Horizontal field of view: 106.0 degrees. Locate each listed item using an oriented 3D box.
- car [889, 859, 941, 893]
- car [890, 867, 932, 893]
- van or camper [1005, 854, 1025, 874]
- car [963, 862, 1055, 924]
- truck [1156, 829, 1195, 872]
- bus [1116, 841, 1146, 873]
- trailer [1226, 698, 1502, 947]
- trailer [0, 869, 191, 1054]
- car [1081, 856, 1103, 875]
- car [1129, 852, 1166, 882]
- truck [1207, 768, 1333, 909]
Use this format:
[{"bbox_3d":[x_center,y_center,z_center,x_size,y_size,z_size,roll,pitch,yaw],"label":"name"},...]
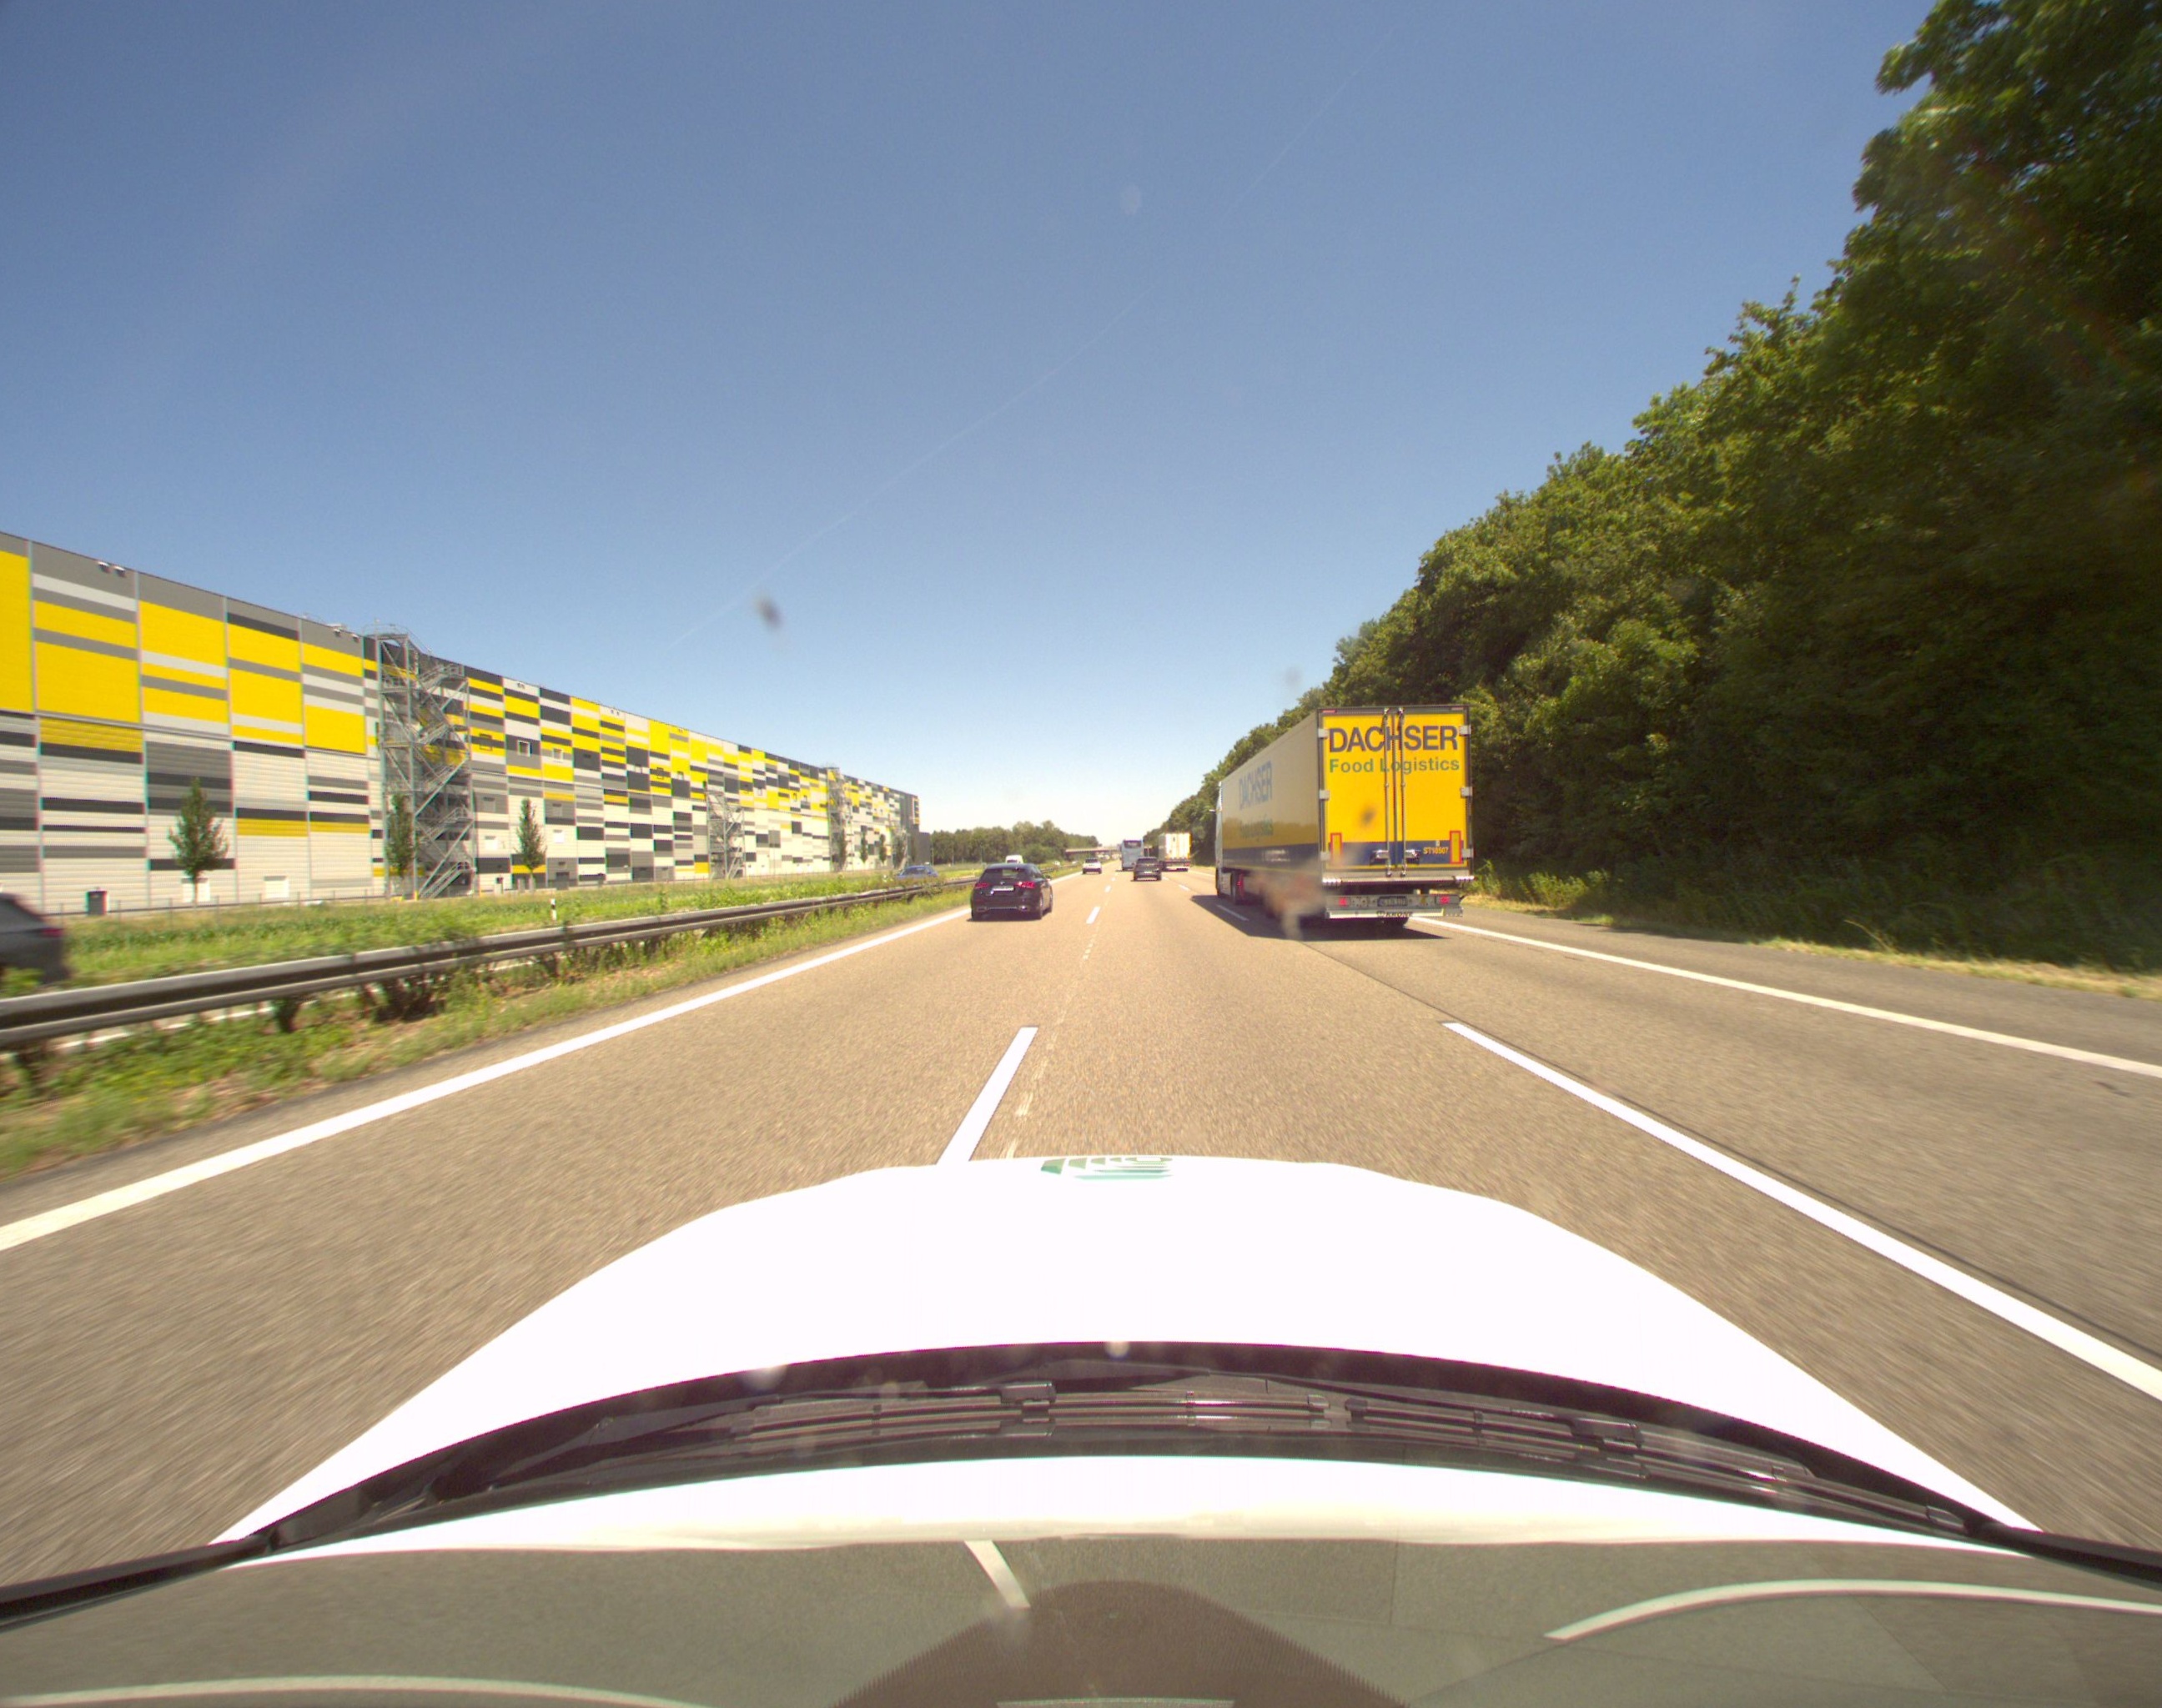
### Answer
[{"bbox_3d":[-9.592,1.250,47.528,1.904,1.788,4.483,-3,0,2],"label":"car"},{"bbox_3d":[-12.760,1.921,61.334,1.844,1.612,4.837,-5,0,2],"label":"car"},{"bbox_3d":[-9.800,1.444,121.667,2.048,2.779,6.970,-3,0,3],"label":"van or camper"},{"bbox_3d":[-1.798,0.960,21.615,1.784,1.412,4.057,-1,0,4],"label":"car"},{"bbox_3d":[9.713,-0.327,84.654,3.408,4.126,9.574,-3,0,4],"label":"truck"},{"bbox_3d":[5.678,0.309,93.229,3.051,3.326,8.277,-3,0,2],"label":"bus"},{"bbox_3d":[5.605,-0.494,19.011,2.823,3.954,11.692,-1,0,3],"label":"trailer"},{"bbox_3d":[-11.614,1.104,7.027,1.937,1.789,5.239,-3,0,2],"label":"trailer"},{"bbox_3d":[1.117,1.078,79.650,1.986,1.728,4.133,-1,0,2],"label":"car"},{"bbox_3d":[4.311,0.810,53.608,2.207,1.790,5.397,-2,0,3],"label":"car"},{"bbox_3d":[5.994,-0.445,26.969,2.802,4.006,6.649,-2,0,3],"label":"truck"}]
